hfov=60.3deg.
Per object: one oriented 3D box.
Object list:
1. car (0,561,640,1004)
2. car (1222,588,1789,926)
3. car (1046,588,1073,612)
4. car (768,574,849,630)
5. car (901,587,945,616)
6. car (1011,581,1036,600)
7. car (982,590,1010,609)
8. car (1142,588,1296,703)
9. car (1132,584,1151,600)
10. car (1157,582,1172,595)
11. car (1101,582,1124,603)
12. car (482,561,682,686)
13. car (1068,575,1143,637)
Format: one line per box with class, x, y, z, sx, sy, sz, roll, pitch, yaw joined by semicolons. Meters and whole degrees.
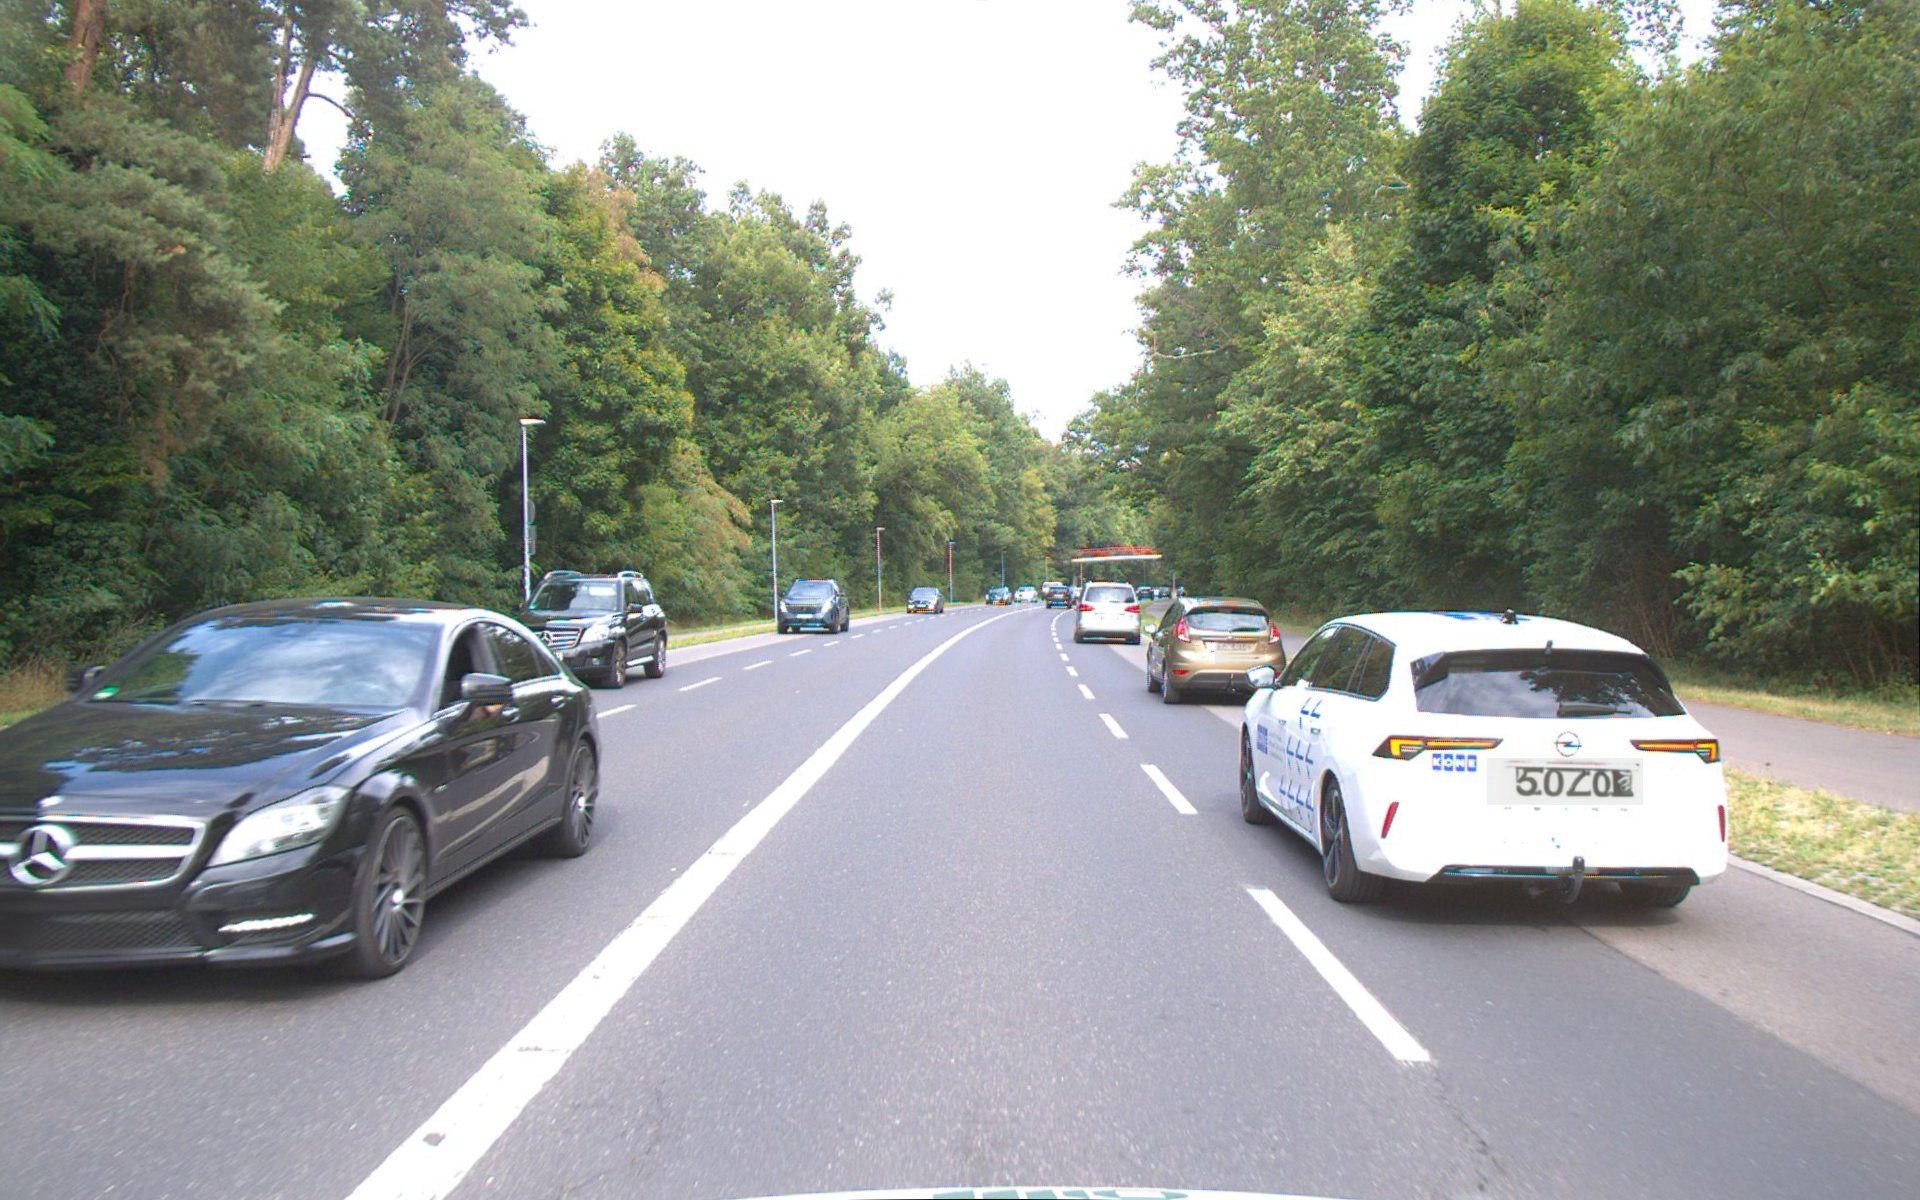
car;-3.020;0.615;7.898;1.952;1.460;4.722;1;0;1
car;2.752;0.672;9.512;1.798;1.434;4.491;1;1;0
car;7.267;0.000;120.496;1.693;1.615;4.003;2;0;7
car;-4.748;0.074;52.475;1.952;1.645;4.664;2;0;1
car;-2.030;0.090;92.514;1.856;1.509;4.541;2;0;6
car;6.011;-0.899;156.081;1.951;1.590;4.607;2;0;6
car;3.003;-0.019;135.938;1.841;1.468;4.406;2;0;6
car;3.619;0.607;23.699;1.601;1.445;4.000;2;0;1
car;22.134;-1.003;201.225;1.951;1.814;4.003;2;0;11
car;28.756;-1.661;232.258;1.951;1.735;4.004;0;1;10
car;13.943;-0.692;150.893;1.951;1.814;4.003;2;0;6
car;-5.582;0.340;25.016;1.883;1.684;4.470;1;0;1
car;4.113;0.186;47.275;1.952;1.635;4.001;2;0;3
